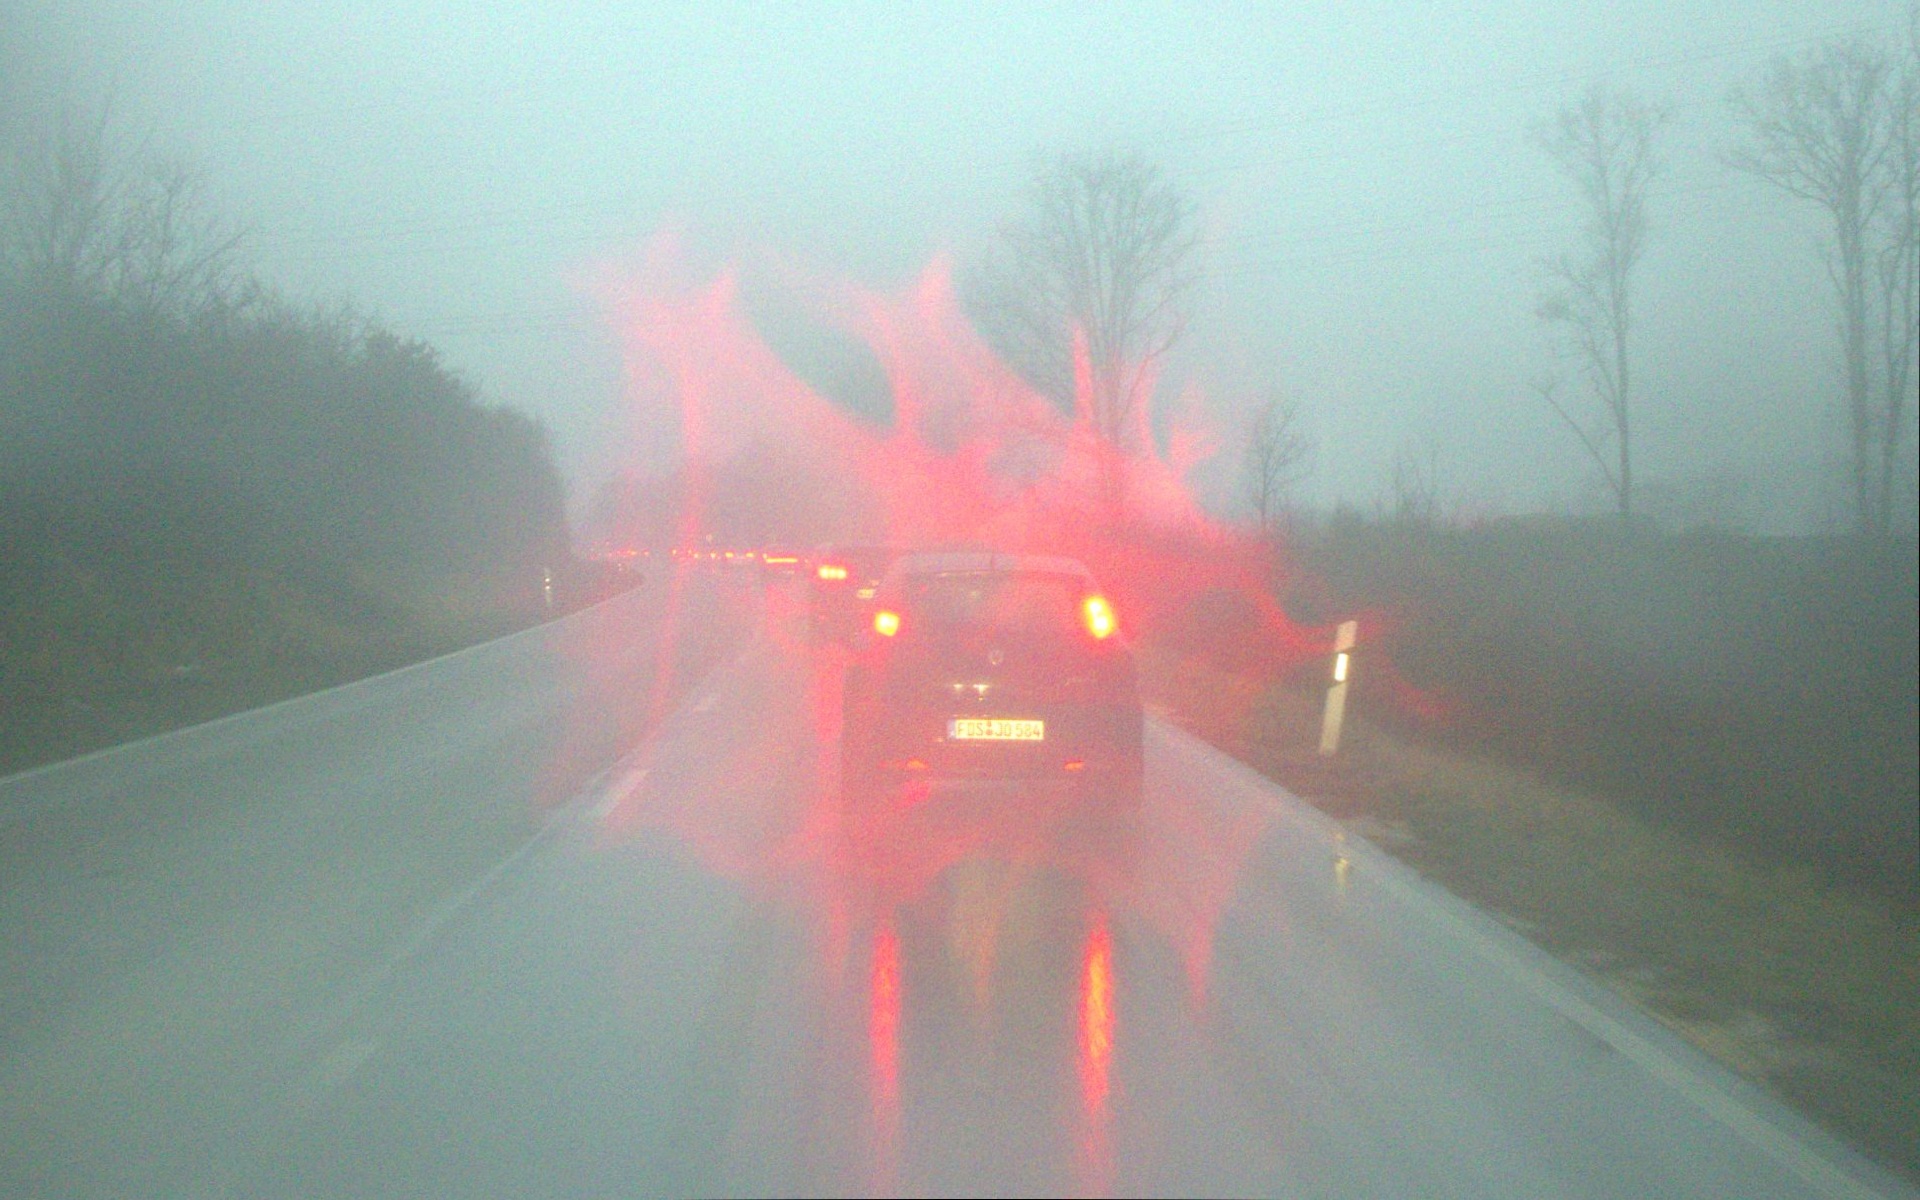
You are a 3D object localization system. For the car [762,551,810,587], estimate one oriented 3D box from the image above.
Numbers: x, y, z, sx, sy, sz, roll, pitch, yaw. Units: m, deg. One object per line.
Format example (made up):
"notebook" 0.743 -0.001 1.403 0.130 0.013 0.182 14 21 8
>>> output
"car" -6.946 -1.239 137.506 1.547 1.392 3.869 1 1 2

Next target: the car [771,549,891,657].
"car" -1.729 0.012 46.953 1.547 1.392 3.870 1 1 -1

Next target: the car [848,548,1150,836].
"car" 0.234 0.461 20.332 1.602 1.517 3.869 1 1 1
